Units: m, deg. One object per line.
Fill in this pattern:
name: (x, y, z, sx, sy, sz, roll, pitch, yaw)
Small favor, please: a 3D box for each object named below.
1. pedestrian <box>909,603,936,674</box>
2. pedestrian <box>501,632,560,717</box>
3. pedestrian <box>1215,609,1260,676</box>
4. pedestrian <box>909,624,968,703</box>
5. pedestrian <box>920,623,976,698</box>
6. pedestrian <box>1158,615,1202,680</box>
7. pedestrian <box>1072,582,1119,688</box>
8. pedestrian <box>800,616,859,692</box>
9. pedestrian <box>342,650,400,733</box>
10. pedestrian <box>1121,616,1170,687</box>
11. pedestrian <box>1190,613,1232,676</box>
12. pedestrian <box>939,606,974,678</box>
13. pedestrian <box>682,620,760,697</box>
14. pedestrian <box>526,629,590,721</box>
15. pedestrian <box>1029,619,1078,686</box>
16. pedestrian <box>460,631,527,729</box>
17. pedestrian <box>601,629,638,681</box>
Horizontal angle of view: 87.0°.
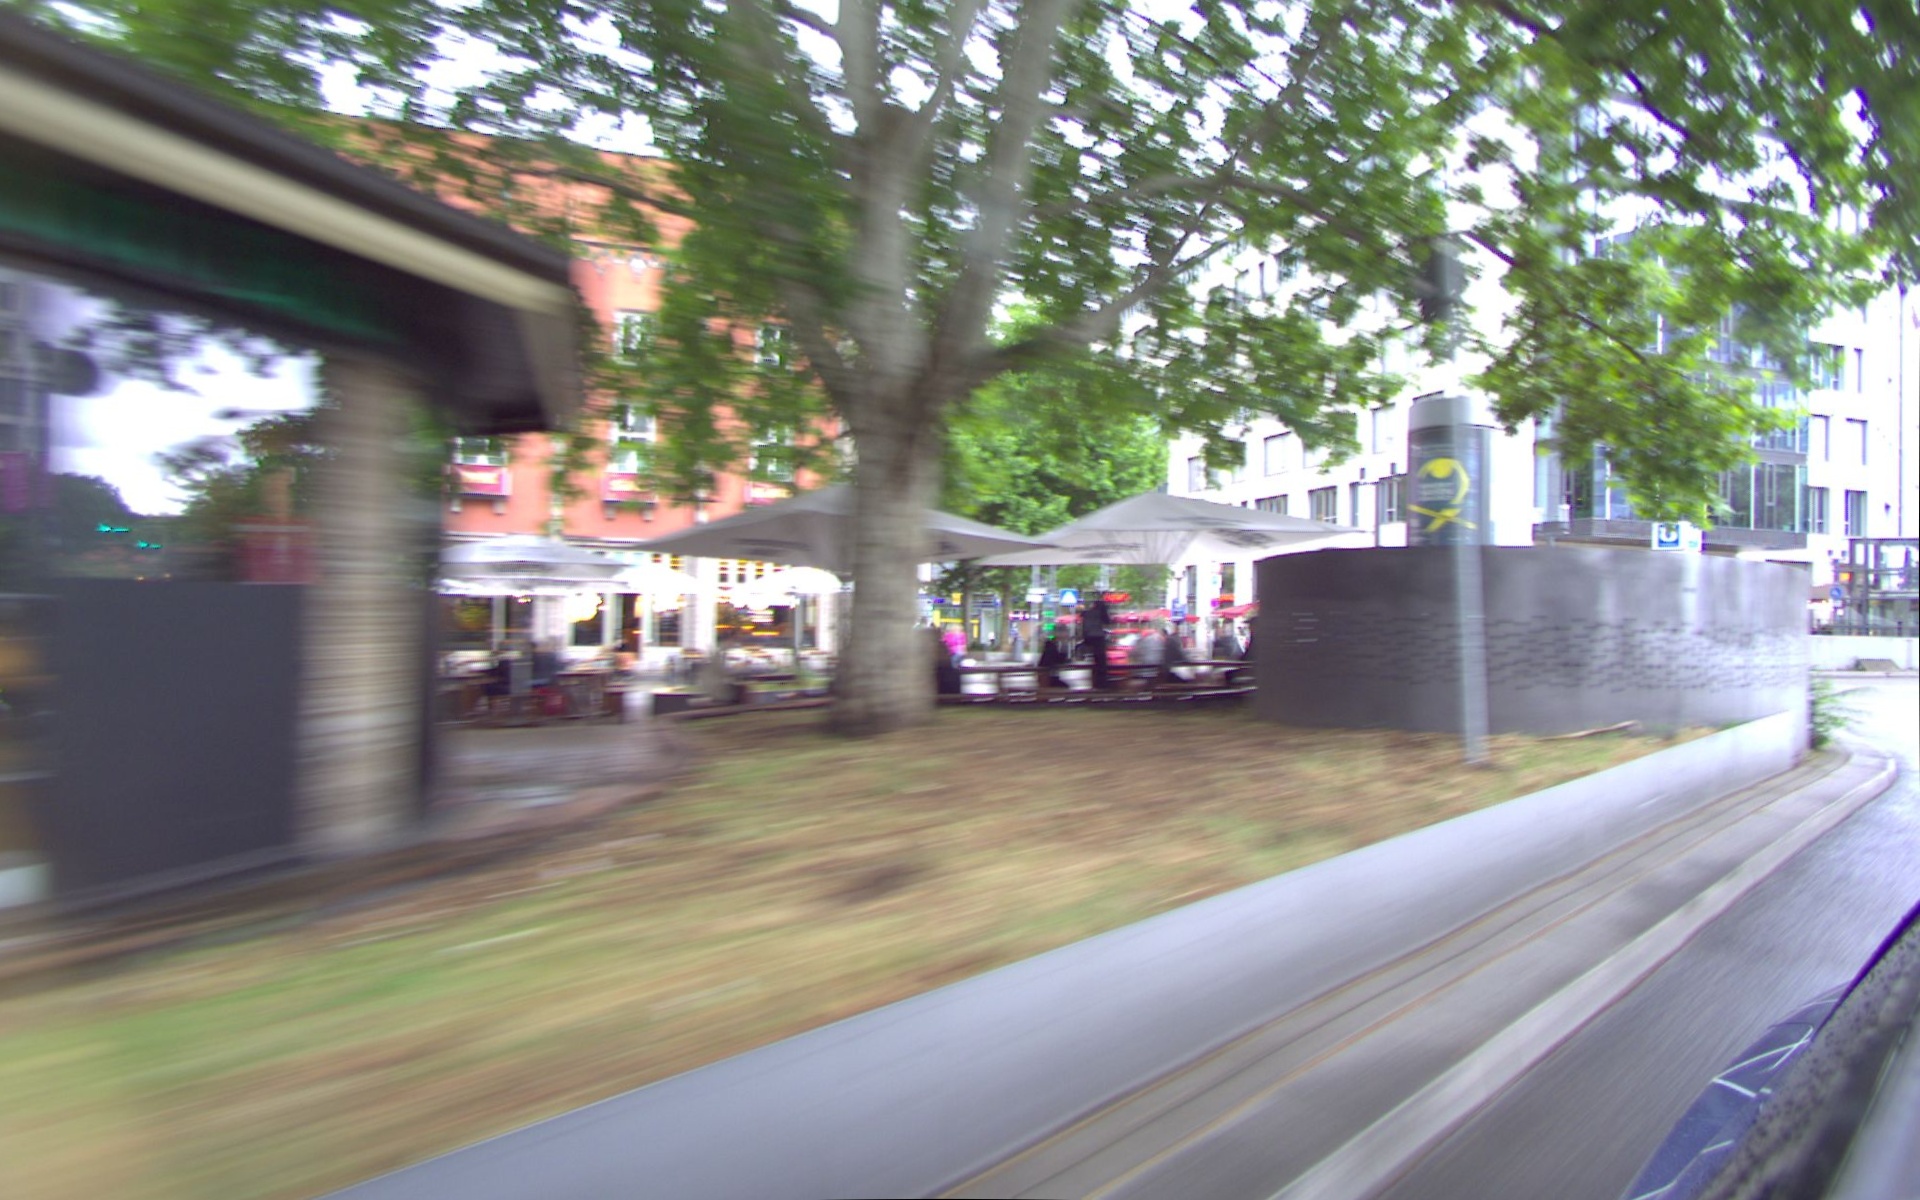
pedestrian: (-1.095, 1.096, 29.429, 0.738, 2.000, 0.946, 0, 0, 1)
pedestrian: (-7.351, 1.250, 17.329, 0.840, 1.358, 0.822, 0, 0, -30)
pedestrian: (3.793, 0.573, 13.812, 0.566, 0.883, 0.506, 0, 0, 18)
pedestrian: (-0.254, 0.739, 11.988, 0.566, 0.883, 0.506, 0, 0, 18)
pedestrian: (-0.145, 0.733, 12.510, 0.566, 0.883, 0.506, 0, 0, 18)
pedestrian: (3.100, 0.656, 14.258, 0.566, 0.883, 0.506, 0, 0, 18)
pedestrian: (1.709, 0.429, 12.712, 0.523, 1.292, 0.401, 0, 0, 18)
pedestrian: (-1.592, 0.653, 12.393, 0.566, 0.883, 0.506, 0, 0, 18)
pedestrian: (-10.470, 1.600, 18.012, 0.804, 1.358, 0.859, 0, 0, -25)
pedestrian: (2.475, 0.666, 13.458, 0.566, 0.883, 0.738, 0, 0, 18)
pedestrian: (3.687, 0.647, 14.836, 0.566, 0.883, 0.506, 0, 0, 18)
pedestrian: (-0.101, 1.180, 28.946, 0.976, 2.000, 0.946, 0, 0, 1)
pedestrian: (-2.894, 0.692, 12.277, 0.689, 0.883, 0.651, 0, 0, 18)
pedestrian: (-6.354, 1.154, 15.985, 0.840, 1.358, 0.822, 0, 0, -30)
pedestrian: (1.294, 0.711, 13.984, 0.566, 0.883, 0.563, 0, 0, 18)
pedestrian: (-6.943, 1.167, 15.053, 0.840, 1.358, 0.822, 0, 0, -30)
pedestrian: (-9.349, 1.508, 27.840, 0.805, 1.358, 0.859, 0, 0, -7)
